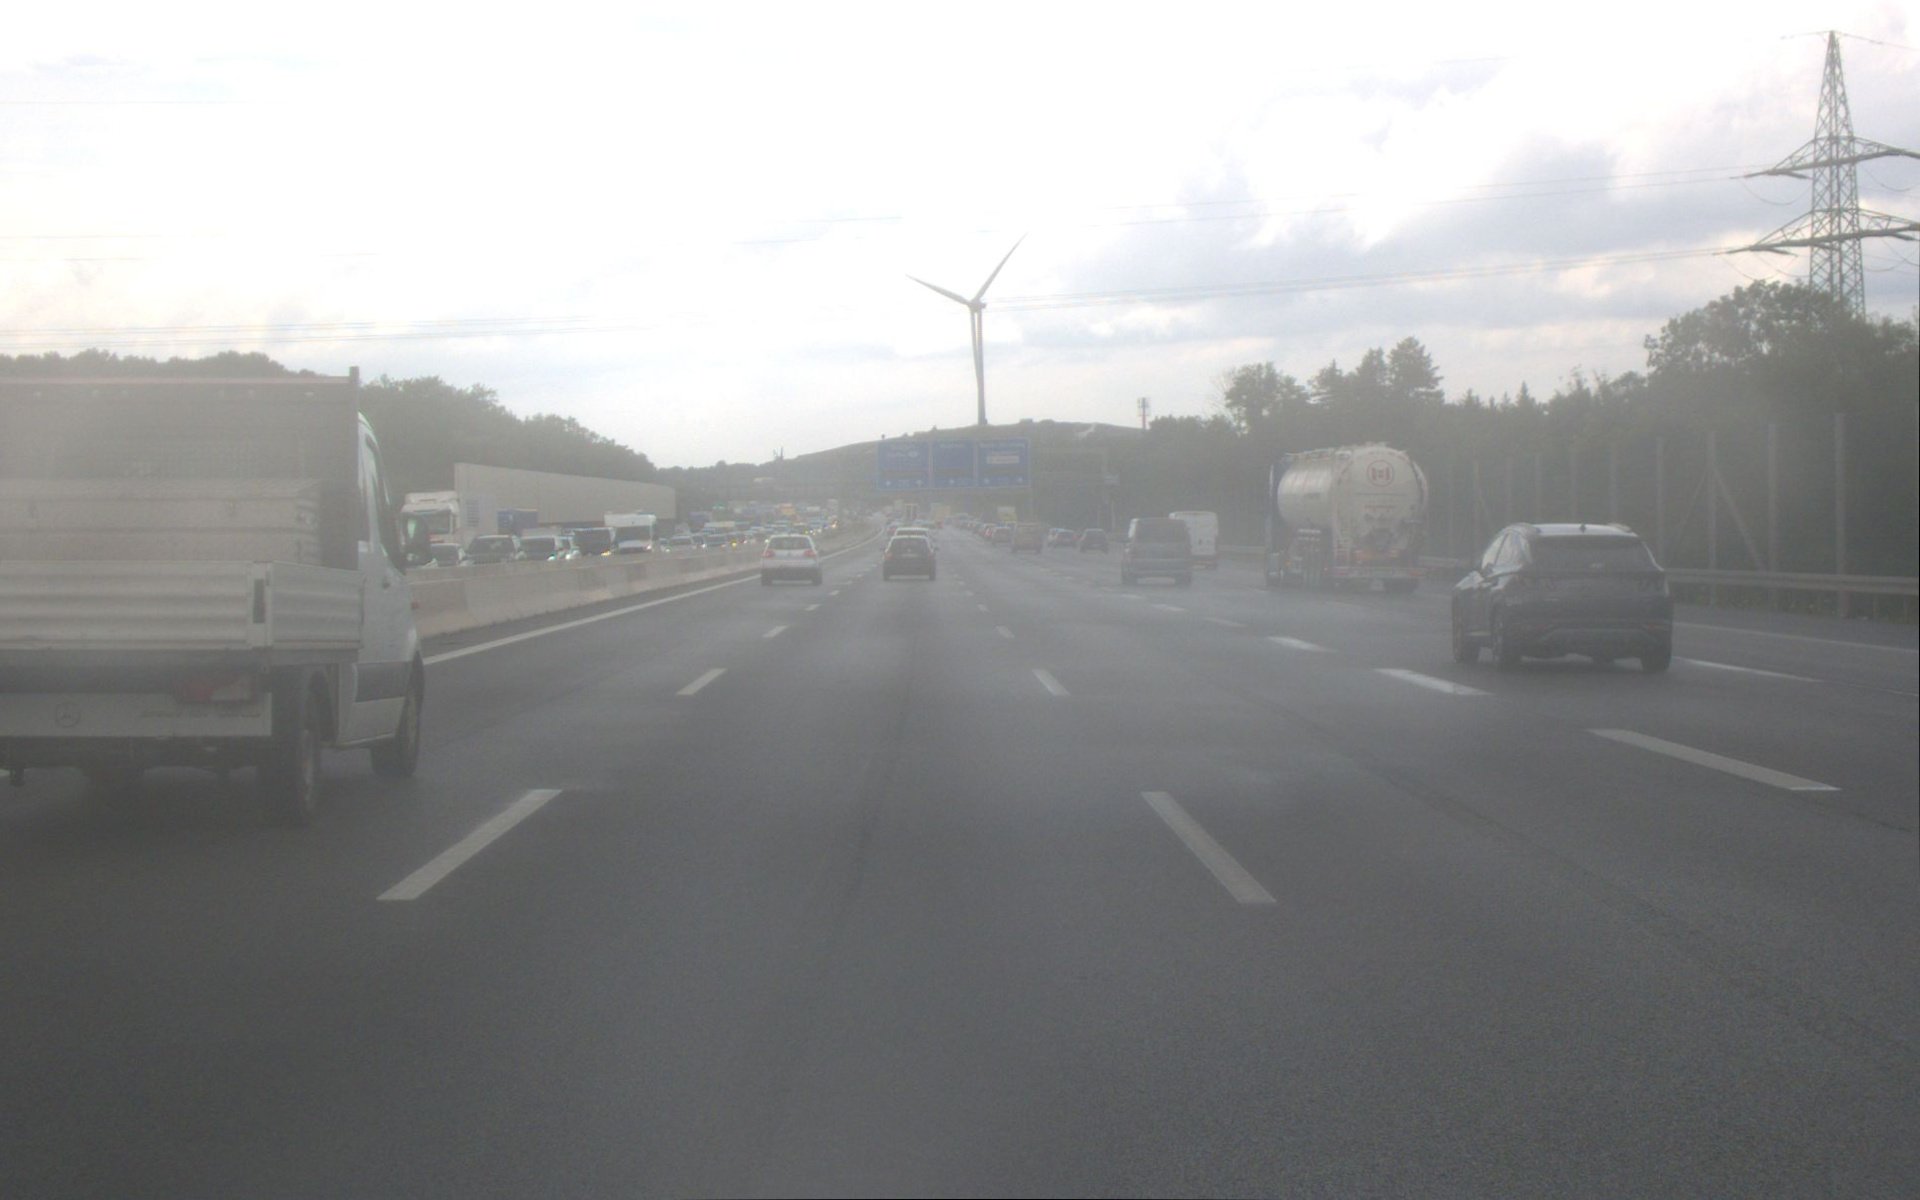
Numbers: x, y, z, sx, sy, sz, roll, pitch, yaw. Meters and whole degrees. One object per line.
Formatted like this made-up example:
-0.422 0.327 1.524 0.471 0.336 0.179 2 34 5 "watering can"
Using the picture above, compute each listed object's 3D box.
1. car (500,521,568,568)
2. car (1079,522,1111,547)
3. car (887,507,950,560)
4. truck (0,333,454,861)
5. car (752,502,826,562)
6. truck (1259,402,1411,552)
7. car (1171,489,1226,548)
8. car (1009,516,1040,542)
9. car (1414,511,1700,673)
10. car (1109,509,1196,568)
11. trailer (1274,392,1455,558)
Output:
-15.370 -2.004 124.207 1.894 1.618 4.845 0 2 -1 "car"
9.359 -4.548 238.807 1.993 1.744 4.497 0 1 -1 "car"
-1.363 -2.221 113.739 2.045 1.693 4.000 0 2 0 "car"
-4.405 -0.139 19.335 2.352 2.400 7.359 0 2 -3 "truck"
-5.046 -2.031 101.985 2.045 1.693 4.001 0 2 -1 "car"
10.639 -3.496 98.332 3.333 4.066 8.272 0 2 -1 "truck"
10.207 -3.508 147.476 2.045 2.489 4.001 0 2 -1 "car"
4.319 -4.787 230.583 2.045 1.693 4.000 0 2 0 "car"
6.621 -0.140 38.702 2.045 1.693 5.008 0 1 -4 "car"
5.699 -1.852 102.159 2.097 1.693 4.001 0 2 -4 "car"
10.716 -3.324 92.418 3.332 4.161 11.839 0 2 -1 "trailer"
